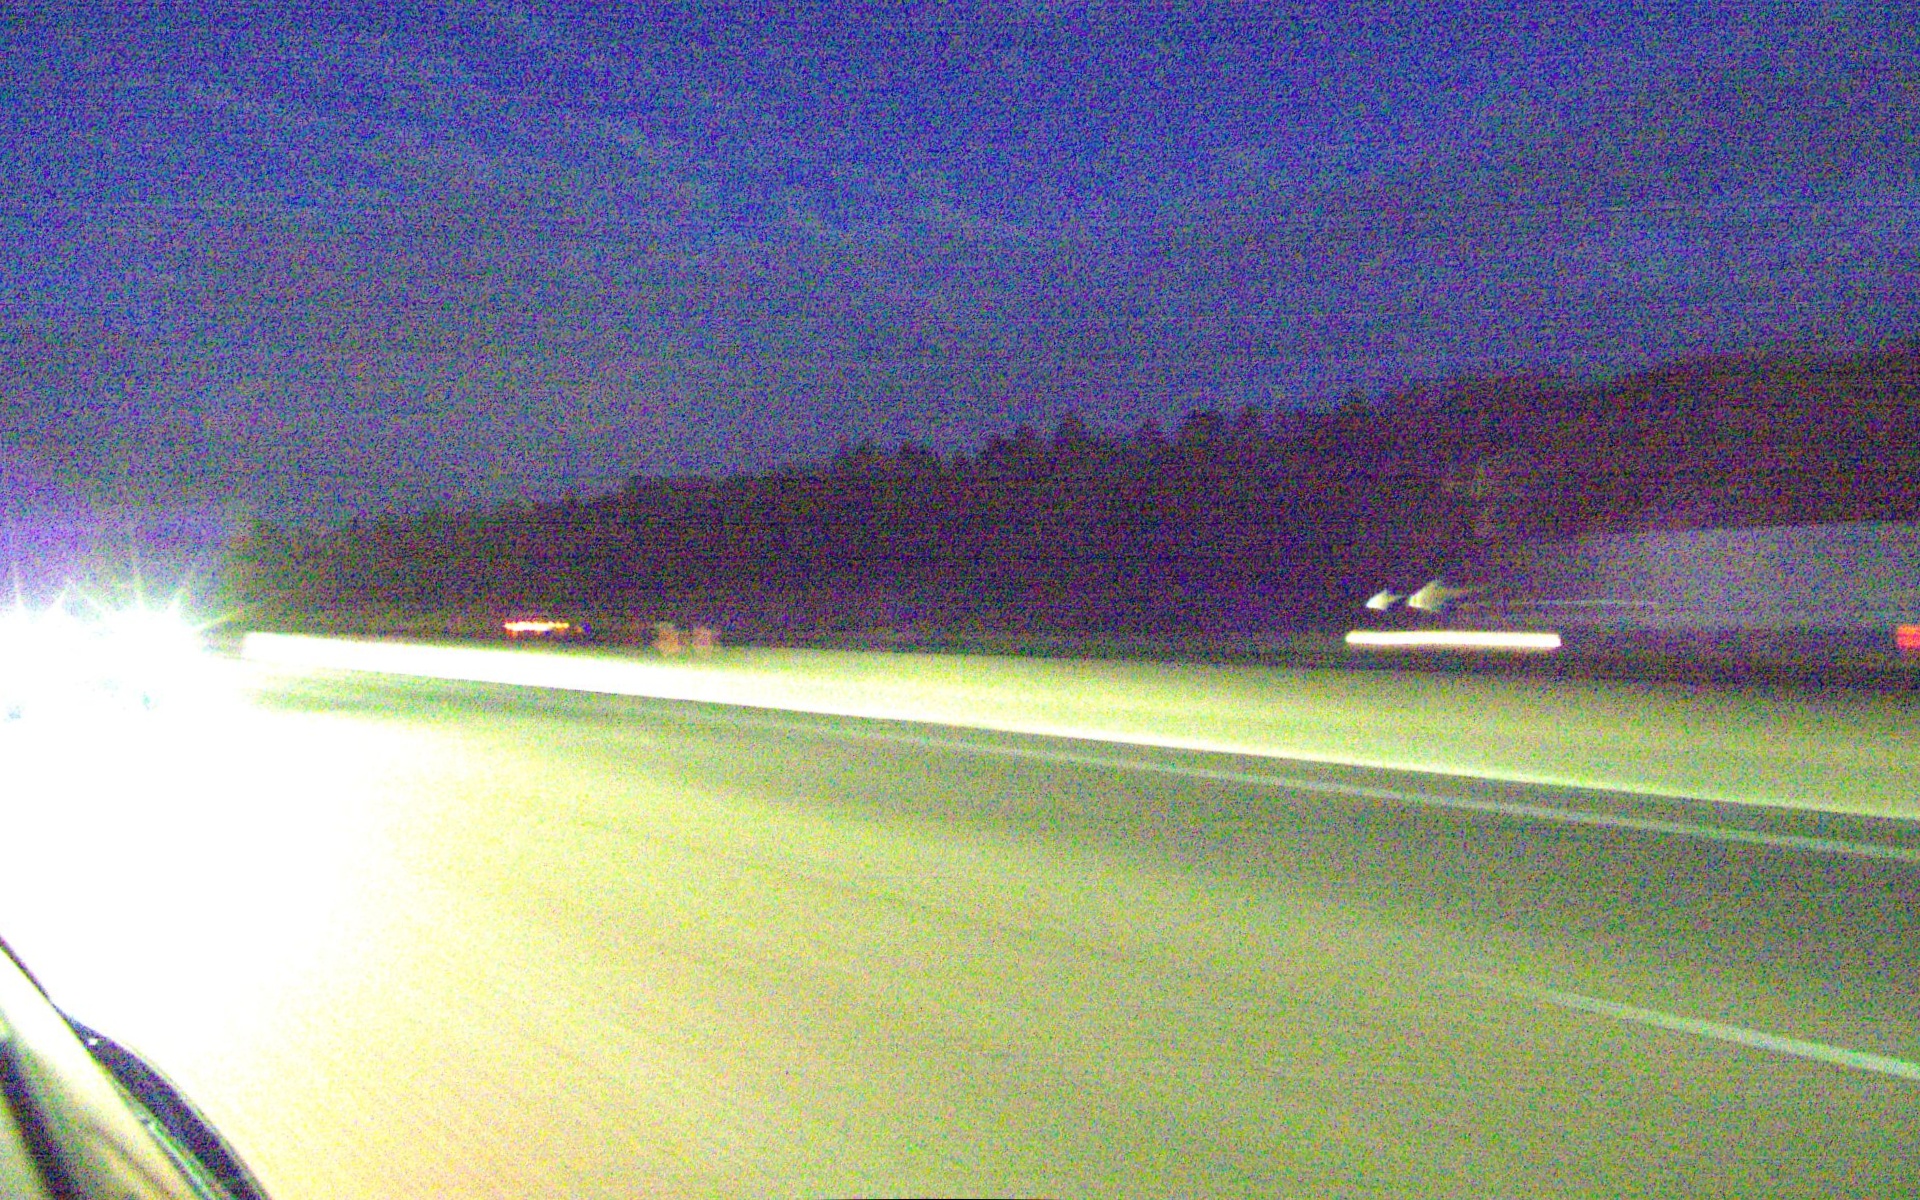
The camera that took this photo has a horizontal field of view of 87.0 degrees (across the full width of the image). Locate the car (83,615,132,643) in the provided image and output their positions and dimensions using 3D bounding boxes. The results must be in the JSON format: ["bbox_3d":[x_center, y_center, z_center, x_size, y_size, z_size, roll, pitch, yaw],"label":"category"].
[{"bbox_3d":[-65.402,2.191,77.585,4.761,1.970,2.174,-1,1,41],"label":"car"}]

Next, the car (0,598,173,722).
[{"bbox_3d":[-15.354,0.911,17.258,5.940,1.734,1.973,-1,0,41],"label":"car"}]

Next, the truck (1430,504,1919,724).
[{"bbox_3d":[11.321,0.196,14.442,7.881,2.661,2.843,-1,-1,41],"label":"truck"}]

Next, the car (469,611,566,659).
[{"bbox_3d":[-19.994,1.536,45.639,4.761,1.970,2.174,-1,1,41],"label":"car"}]
